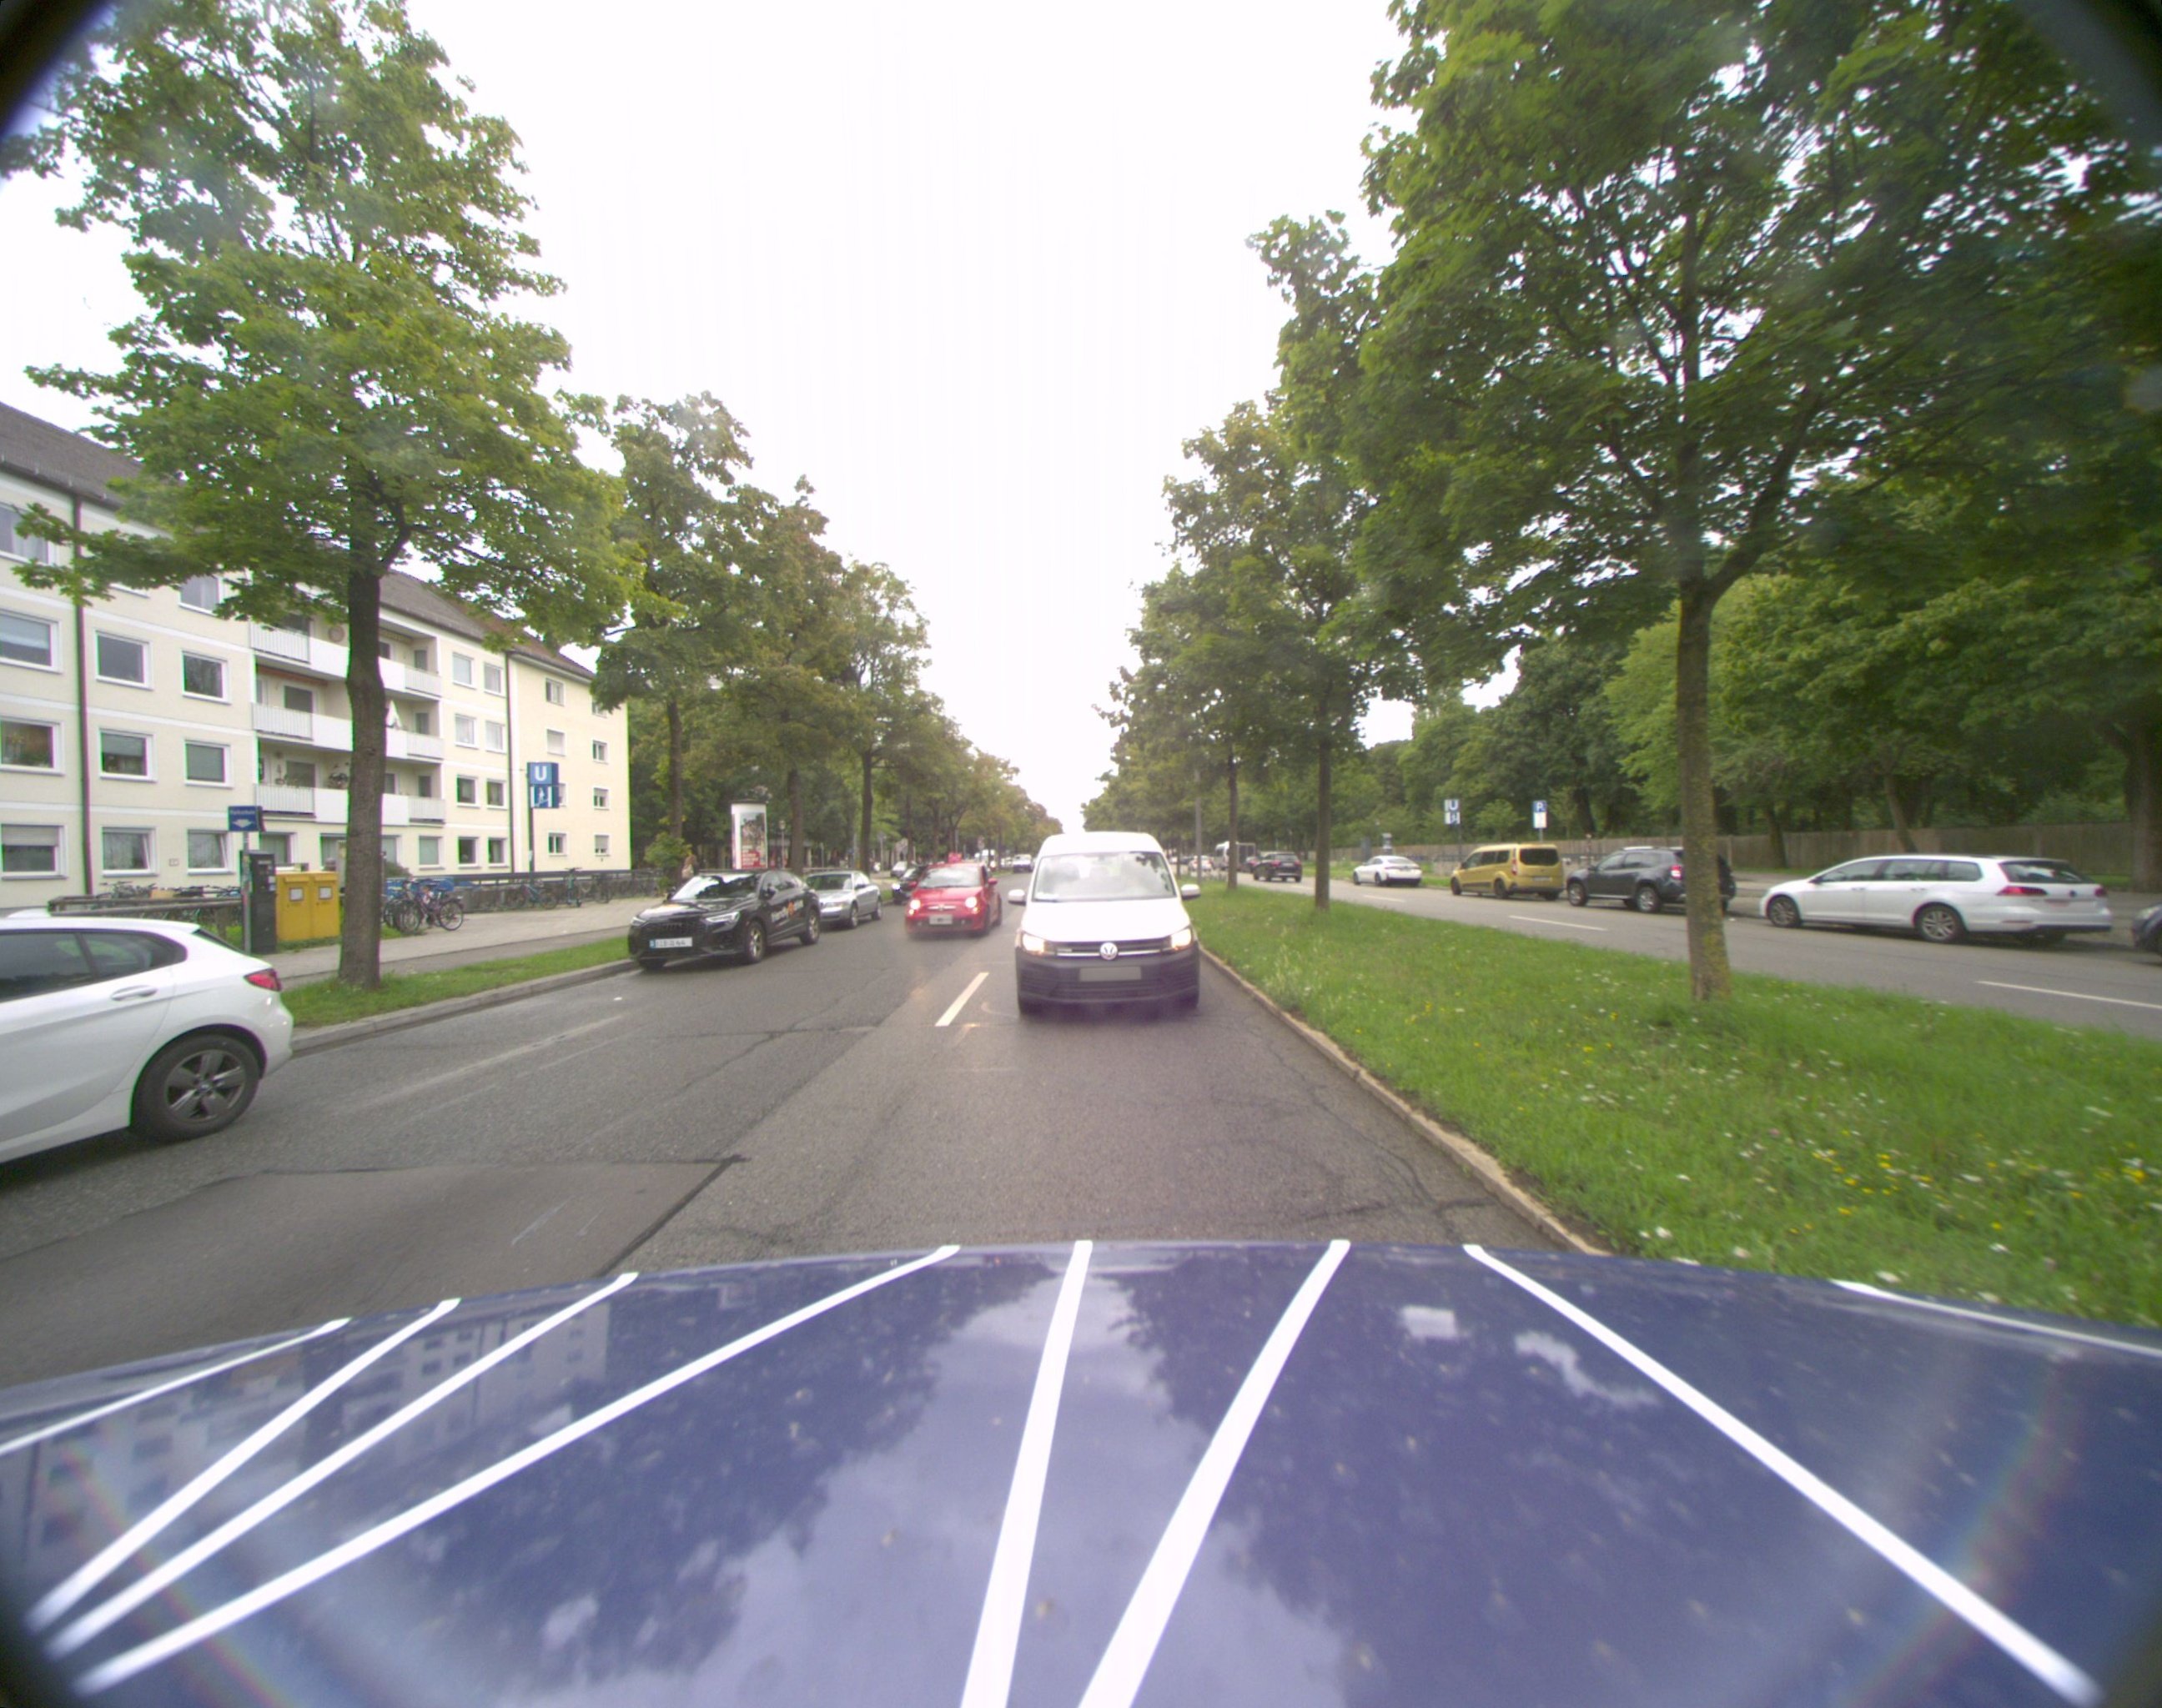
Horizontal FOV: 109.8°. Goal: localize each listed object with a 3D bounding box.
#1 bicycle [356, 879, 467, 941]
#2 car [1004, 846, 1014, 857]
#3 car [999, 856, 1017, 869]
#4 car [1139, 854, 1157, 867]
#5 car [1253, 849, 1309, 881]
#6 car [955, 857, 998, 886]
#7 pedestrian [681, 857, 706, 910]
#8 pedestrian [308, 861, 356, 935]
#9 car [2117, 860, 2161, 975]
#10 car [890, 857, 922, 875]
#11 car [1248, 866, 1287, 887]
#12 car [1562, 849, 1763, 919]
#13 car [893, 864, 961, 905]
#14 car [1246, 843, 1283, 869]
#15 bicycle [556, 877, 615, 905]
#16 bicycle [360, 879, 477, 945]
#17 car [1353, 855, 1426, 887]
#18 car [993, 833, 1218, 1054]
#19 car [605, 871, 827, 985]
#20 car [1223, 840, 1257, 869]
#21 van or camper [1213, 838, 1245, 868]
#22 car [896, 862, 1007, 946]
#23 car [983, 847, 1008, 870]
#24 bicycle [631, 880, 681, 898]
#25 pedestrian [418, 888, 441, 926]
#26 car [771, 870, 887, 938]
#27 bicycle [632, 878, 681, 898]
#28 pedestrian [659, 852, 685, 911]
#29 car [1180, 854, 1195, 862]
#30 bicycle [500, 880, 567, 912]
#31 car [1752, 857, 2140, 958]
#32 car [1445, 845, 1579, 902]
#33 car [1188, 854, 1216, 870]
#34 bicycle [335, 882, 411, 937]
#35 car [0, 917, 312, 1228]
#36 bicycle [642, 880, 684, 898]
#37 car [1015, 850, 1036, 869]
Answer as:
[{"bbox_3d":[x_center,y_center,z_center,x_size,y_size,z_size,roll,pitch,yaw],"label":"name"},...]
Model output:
[{"bbox_3d":[-14.622,1.186,16.682,0.545,1.182,2.076,-1,0,1],"label":"bicycle"},{"bbox_3d":[-16.991,-0.540,180.124,1.999,2.440,4.999,-2,0,-1],"label":"car"},{"bbox_3d":[-9.579,1.105,99.831,1.827,1.460,4.300,-2,0,1],"label":"car"},{"bbox_3d":[8.663,0.853,98.005,1.866,1.649,4.500,1,0,0],"label":"car"},{"bbox_3d":[10.962,0.559,42.020,1.866,1.659,4.500,1,0,0],"label":"car"},{"bbox_3d":[-5.935,0.980,43.601,1.827,1.460,4.300,-2,0,1],"label":"car"},{"bbox_3d":[-11.908,0.884,23.357,0.560,1.595,0.519,-2,1,-19],"label":"pedestrian"},{"bbox_3d":[-17.224,1.001,17.483,0.560,1.664,0.519,-2,1,-19],"label":"pedestrian"},{"bbox_3d":[14.497,0.820,8.043,1.826,1.438,3.787,1,0,-2],"label":"car"},{"bbox_3d":[-16.157,1.096,70.360,1.827,1.460,4.300,-2,0,1],"label":"car"},{"bbox_3d":[13.329,1.602,54.550,1.717,1.401,4.040,0,0,-2],"label":"car"},{"bbox_3d":[14.758,0.684,19.616,2.007,1.607,4.040,0,0,-2],"label":"car"},{"bbox_3d":[-5.904,1.132,29.622,1.827,1.371,4.300,-2,0,-1],"label":"car"},{"bbox_3d":[15.006,0.141,62.219,1.999,2.002,3.999,-2,0,0],"label":"car"},{"bbox_3d":[-16.492,1.231,25.304,1.599,0.910,0.498,0,1,-4],"label":"bicycle"},{"bbox_3d":[-13.718,1.161,15.821,0.545,1.182,2.076,-1,0,1],"label":"bicycle"},{"bbox_3d":[14.691,0.772,36.440,1.717,1.434,4.040,0,0,-2],"label":"car"},{"bbox_3d":[0.204,0.734,8.594,1.772,1.742,4.545,-3,0,0],"label":"car"},{"bbox_3d":[-6.082,1.143,13.301,1.826,1.502,4.157,-2,0,0],"label":"car"},{"bbox_3d":[14.621,0.018,70.007,1.999,2.576,4.499,0,0,-2],"label":"car"},{"bbox_3d":[14.468,-0.116,74.712,1.999,2.791,4.931,0,0,-2],"label":"van or camper"},{"bbox_3d":[-2.662,0.972,16.592,1.723,1.492,4.300,-2,0,-1],"label":"car"},{"bbox_3d":[-9.581,0.439,85.628,1.998,2.440,4.999,-2,1,1],"label":"car"},{"bbox_3d":[-16.302,1.344,29.143,1.599,0.634,0.498,1,0,-4],"label":"bicycle"},{"bbox_3d":[-16.227,1.318,18.931,0.338,0.915,0.395,-2,1,-28],"label":"pedestrian"},{"bbox_3d":[-6.184,1.173,19.102,1.617,1.371,3.926,-2,0,-1],"label":"car"},{"bbox_3d":[-16.643,1.332,29.800,1.599,0.691,0.498,-2,1,-4],"label":"bicycle"},{"bbox_3d":[-12.524,0.833,23.267,0.560,1.745,0.656,-2,1,-19],"label":"pedestrian"},{"bbox_3d":[17.448,0.655,124.796,1.717,1.401,4.040,0,0,-2],"label":"car"},{"bbox_3d":[-16.530,1.261,22.961,1.599,0.910,0.498,-2,1,-4],"label":"bicycle"},{"bbox_3d":[14.650,0.795,13.340,1.826,1.461,4.300,0,0,-2],"label":"car"},{"bbox_3d":[14.445,0.602,25.834,1.862,1.761,4.533,0,0,-2],"label":"car"},{"bbox_3d":[11.141,0.718,70.415,1.866,1.447,4.500,1,0,0],"label":"car"},{"bbox_3d":[-15.843,1.226,17.031,0.466,1.110,1.253,-1,1,1],"label":"bicycle"},{"bbox_3d":[-6.360,1.214,3.173,1.826,1.428,4.287,-3,0,0],"label":"car"},{"bbox_3d":[-16.704,1.399,30.367,1.392,0.709,0.498,1,0,-4],"label":"bicycle"},{"bbox_3d":[-5.895,0.593,81.345,1.827,1.939,4.300,-2,0,1],"label":"car"}]
